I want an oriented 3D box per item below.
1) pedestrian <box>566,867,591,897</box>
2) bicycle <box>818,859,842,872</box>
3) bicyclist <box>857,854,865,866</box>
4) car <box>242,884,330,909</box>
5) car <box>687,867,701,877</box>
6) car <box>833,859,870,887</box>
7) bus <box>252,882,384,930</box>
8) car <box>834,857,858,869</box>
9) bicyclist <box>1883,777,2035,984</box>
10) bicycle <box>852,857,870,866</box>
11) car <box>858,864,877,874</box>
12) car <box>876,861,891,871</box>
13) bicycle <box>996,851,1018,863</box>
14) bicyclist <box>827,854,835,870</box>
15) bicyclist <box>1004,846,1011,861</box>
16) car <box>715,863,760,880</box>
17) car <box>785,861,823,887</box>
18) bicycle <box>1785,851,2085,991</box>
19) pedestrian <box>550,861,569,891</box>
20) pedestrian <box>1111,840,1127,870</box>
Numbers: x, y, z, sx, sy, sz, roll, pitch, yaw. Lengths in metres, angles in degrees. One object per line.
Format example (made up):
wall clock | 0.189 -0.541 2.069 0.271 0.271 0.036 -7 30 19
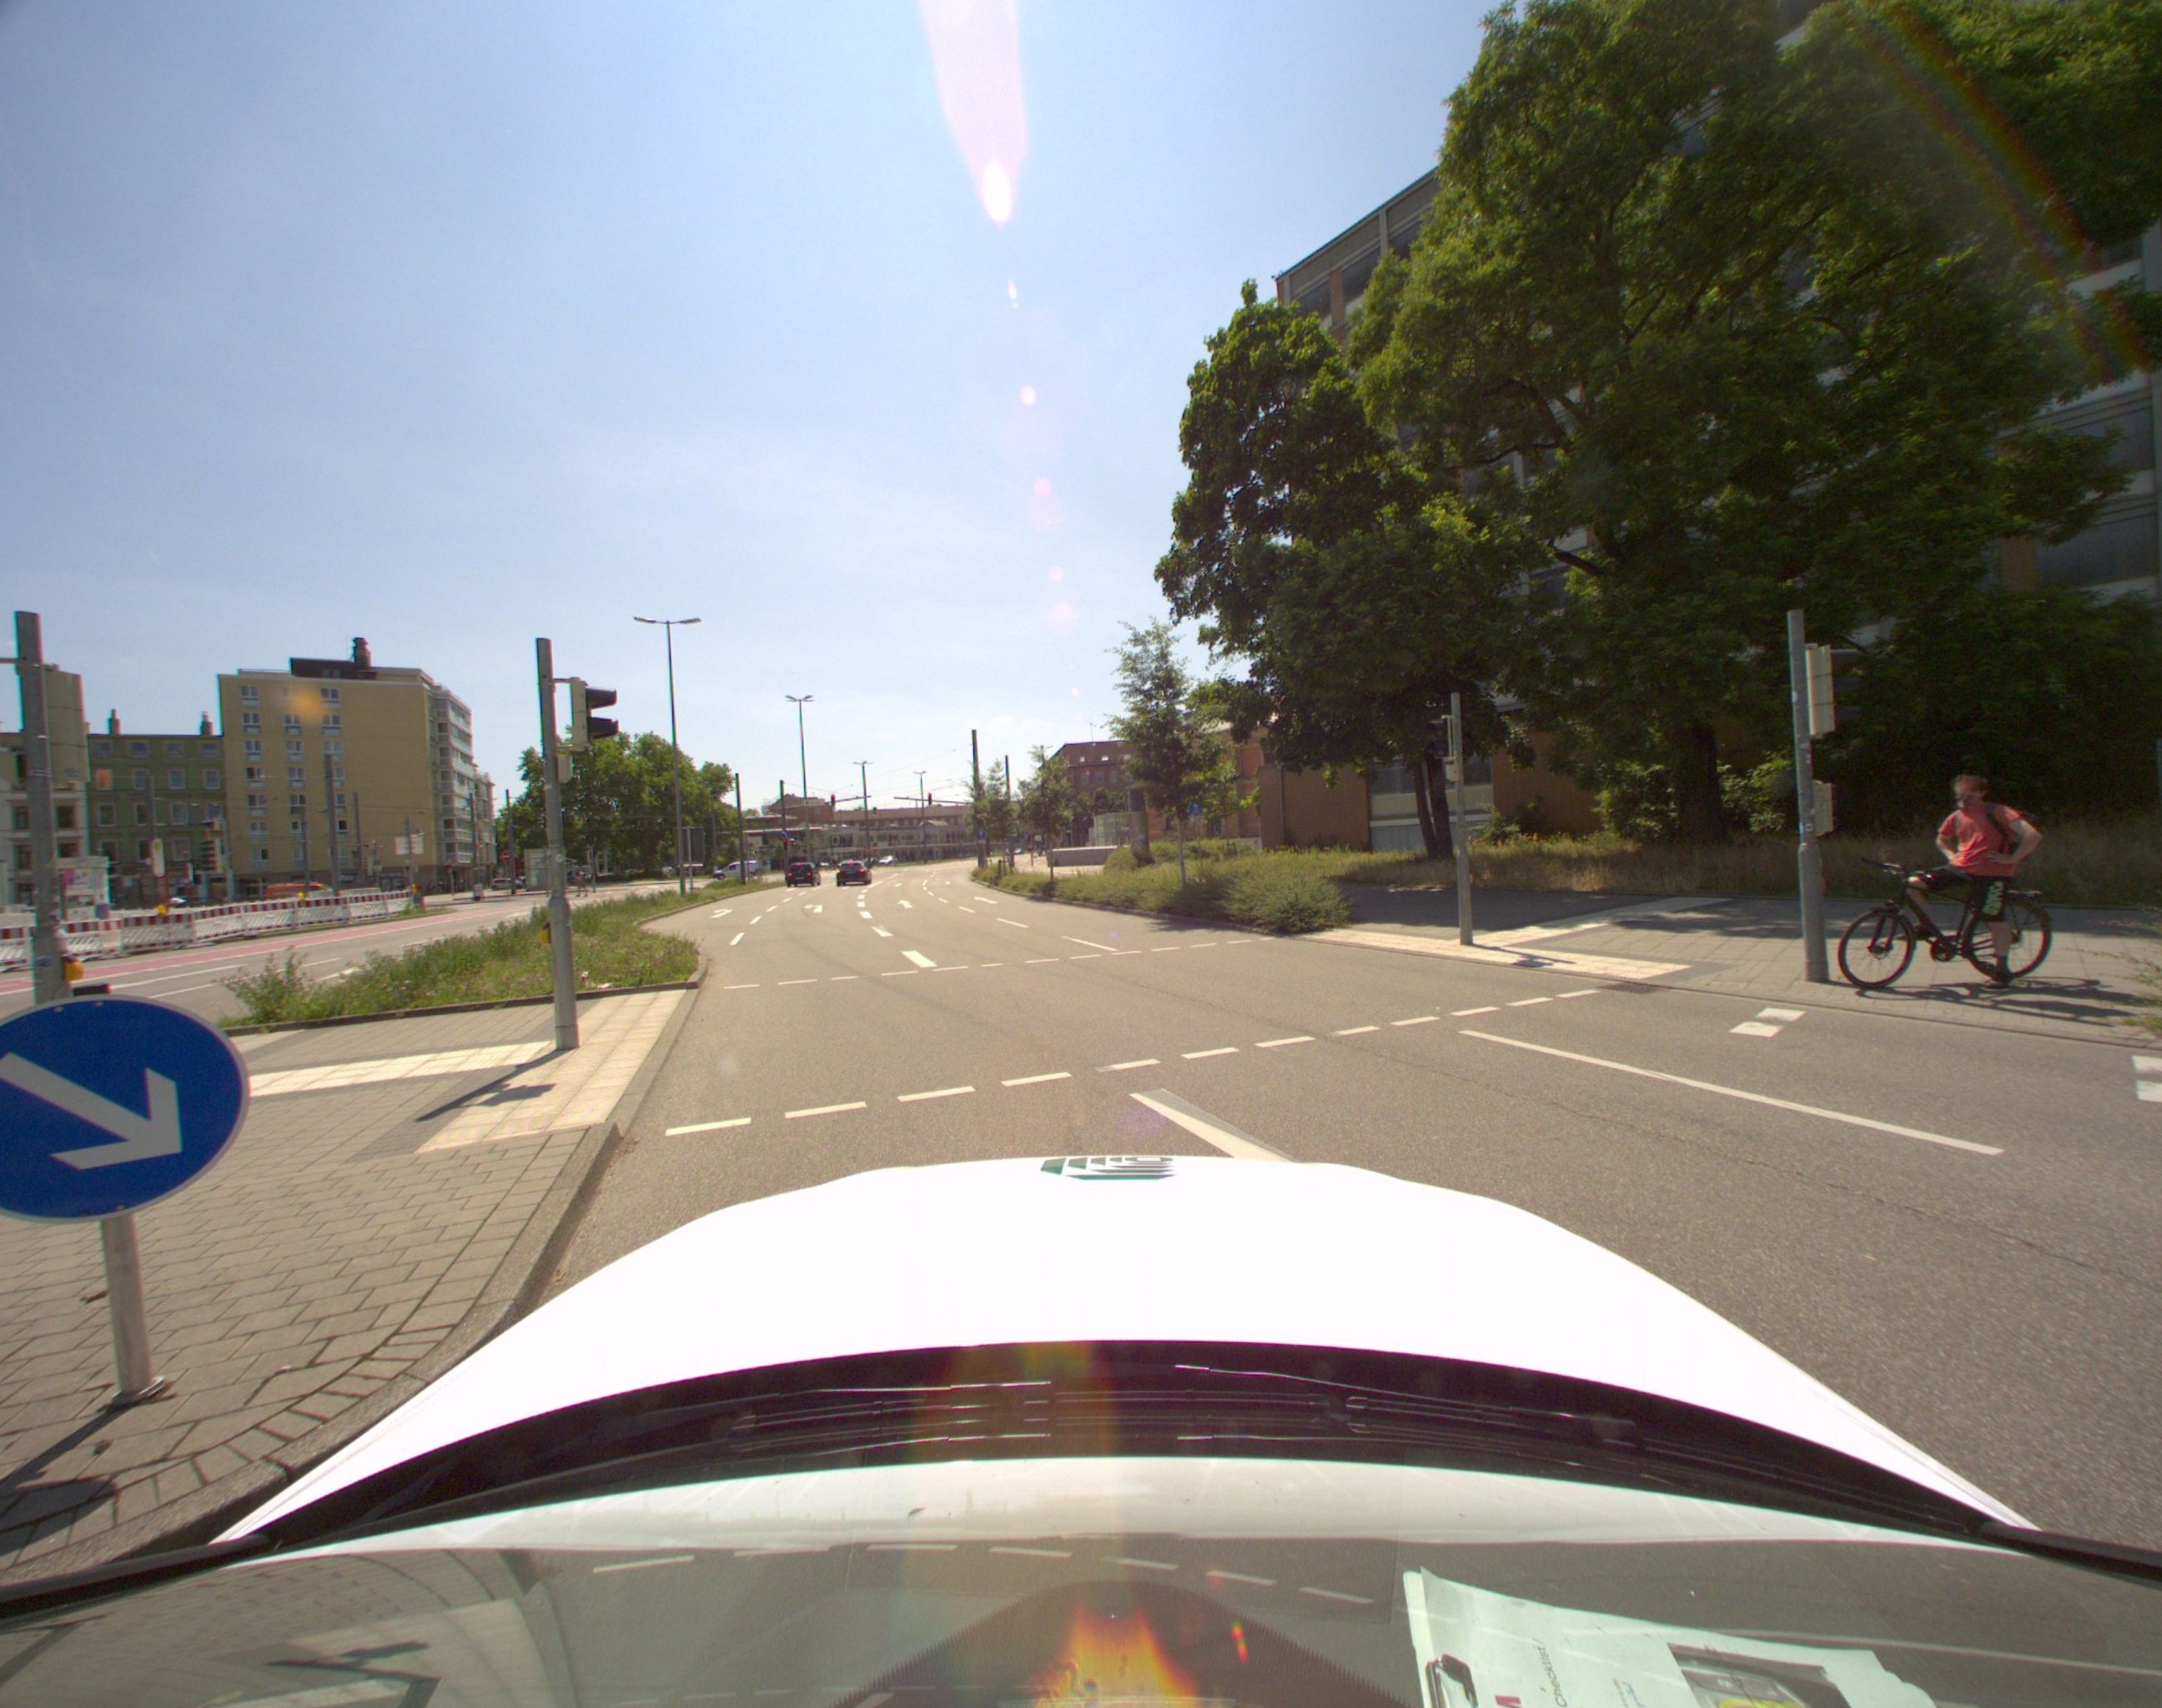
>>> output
pedestrian | -34.026 1.868 55.152 1.182 1.933 0.897 -3 2 -17
bicycle | -31.178 1.451 101.130 2.782 1.385 0.667 -3 2 -18
bicyclist | -28.548 0.737 105.718 0.736 1.479 0.650 -3 2 -29
car | -63.562 3.385 65.233 4.646 1.613 1.662 -3 2 -25
car | -67.993 3.171 143.046 1.513 1.418 3.403 -3 2 -16
car | -14.243 1.129 50.791 1.717 1.556 4.570 -3 0 -10
bus | -29.511 1.939 31.756 1.247 1.249 5.788 -3 2 -17
car | -32.456 1.223 112.450 1.611 1.390 4.133 -3 0 7
bicyclist | 7.694 0.218 7.159 0.698 1.715 0.552 -4 2 2
bicycle | -28.544 0.999 105.810 2.173 1.107 0.452 -3 2 -28
car | -31.483 2.188 120.107 1.530 1.277 3.547 -2 2 7
car | -30.986 1.869 127.706 1.426 1.285 3.264 -2 2 3
bicycle | -9.817 0.374 108.098 2.828 1.463 0.631 -3 2 -12
bicyclist | -31.047 0.955 101.171 0.848 1.965 0.623 -3 2 -18
bicyclist | -9.761 -0.023 108.126 0.764 1.937 0.657 -2 2 -12
car | -37.541 1.893 88.983 4.334 1.626 1.797 -3 3 -30
car | -17.407 1.253 51.335 1.621 1.463 3.986 -3 0 -10
bicycle | 7.490 0.577 7.198 1.982 1.045 0.559 -4 2 2
pedestrian | -54.411 2.304 84.975 1.215 2.937 1.330 -2 2 -13
pedestrian | 2.210 0.074 47.867 0.732 1.705 0.808 -2 1 -9
